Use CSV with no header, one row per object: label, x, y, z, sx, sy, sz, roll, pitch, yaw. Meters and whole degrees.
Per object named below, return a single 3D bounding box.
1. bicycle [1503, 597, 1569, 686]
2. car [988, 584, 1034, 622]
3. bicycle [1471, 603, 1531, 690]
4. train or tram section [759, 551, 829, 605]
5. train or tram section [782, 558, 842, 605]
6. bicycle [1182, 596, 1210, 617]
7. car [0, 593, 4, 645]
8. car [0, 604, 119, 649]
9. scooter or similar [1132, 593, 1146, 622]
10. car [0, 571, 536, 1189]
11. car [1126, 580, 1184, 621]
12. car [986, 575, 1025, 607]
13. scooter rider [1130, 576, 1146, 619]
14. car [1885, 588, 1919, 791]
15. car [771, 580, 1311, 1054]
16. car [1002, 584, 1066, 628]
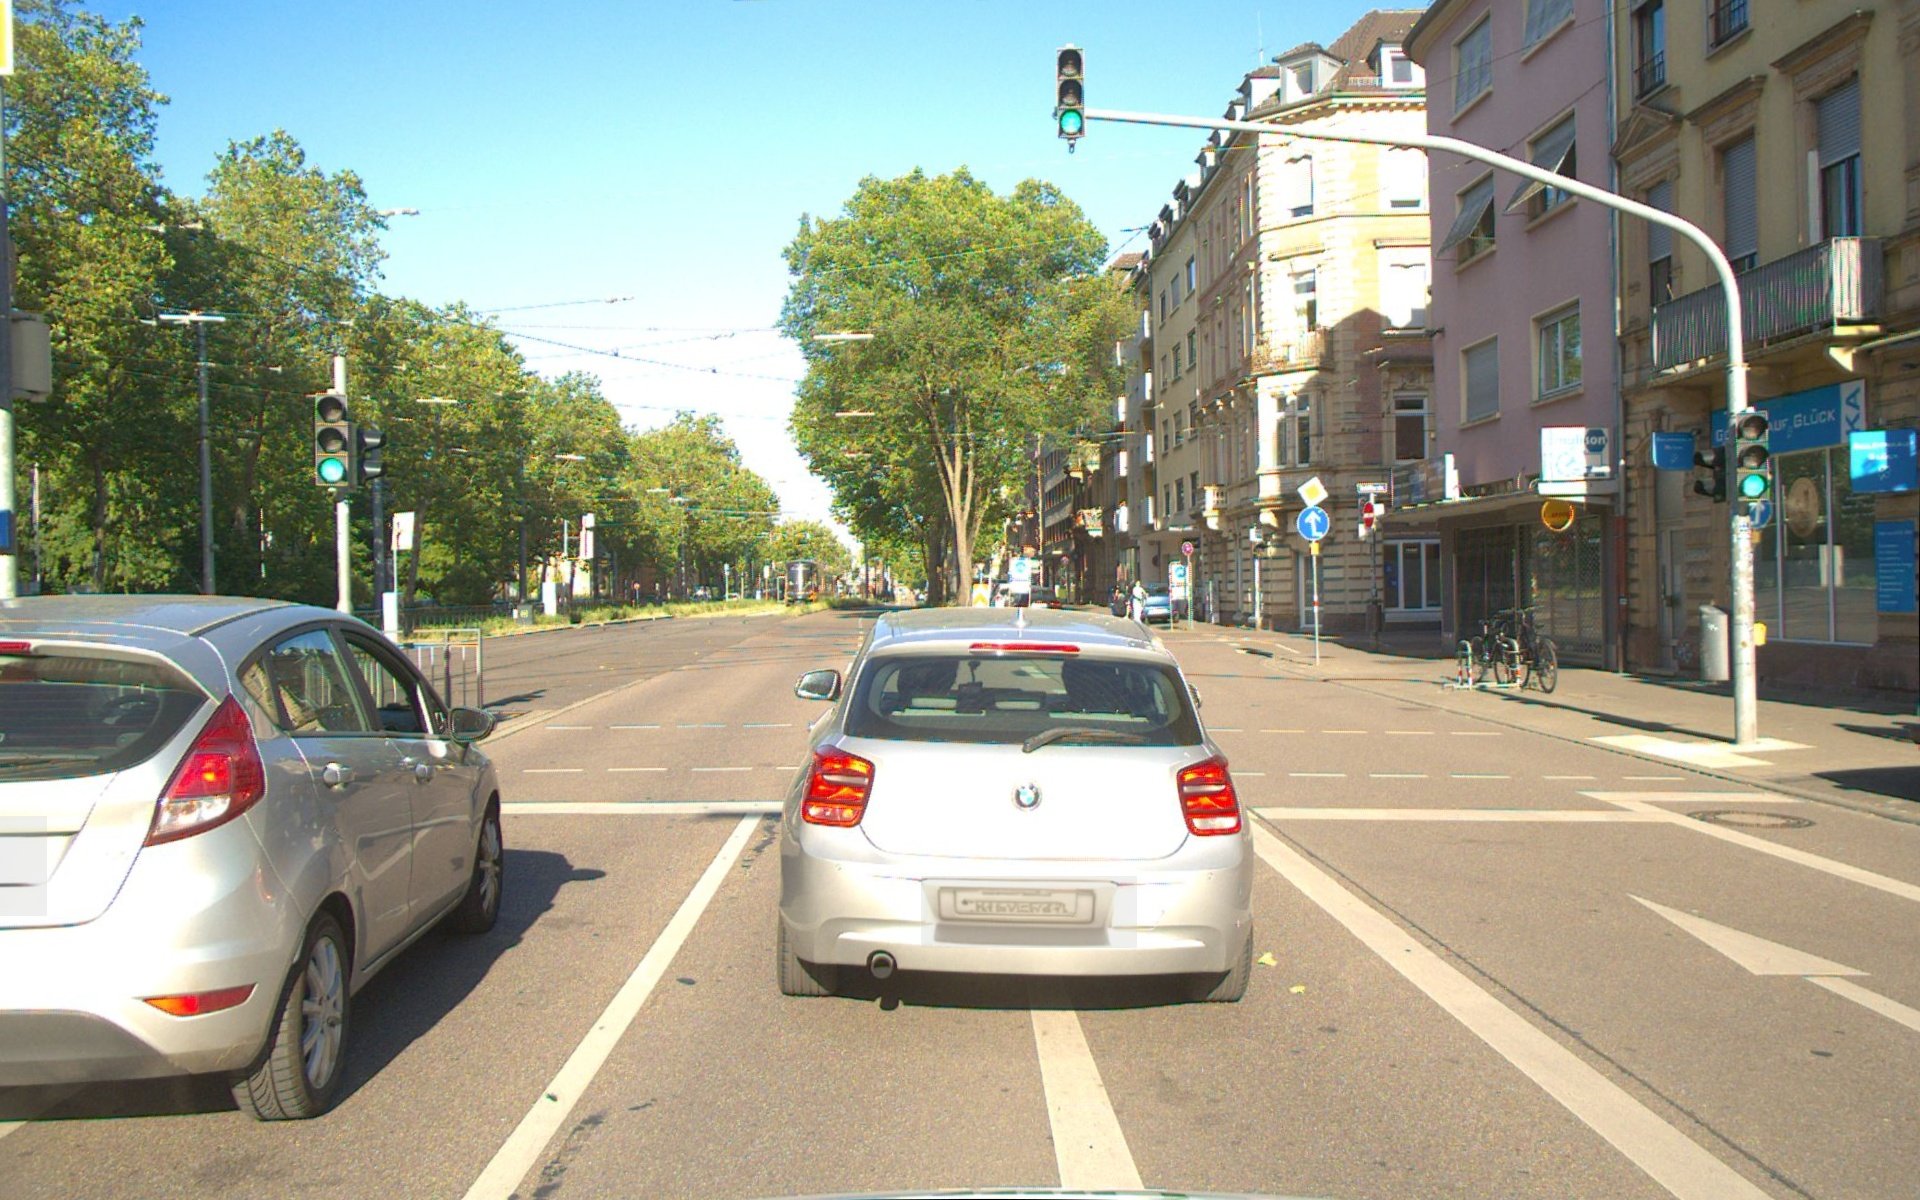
bicycle,8.092,0.562,23.295,0.439,1.179,1.759,-1,1,5
car,2.105,0.095,69.367,1.690,1.533,3.553,0,1,-2
bicycle,7.603,0.630,23.291,0.405,1.160,1.811,0,1,5
train or tram section,-12.797,-1.689,129.511,3.888,3.933,17.486,-1,1,-1
train or tram section,-13.020,-1.637,146.976,3.924,3.933,17.486,-1,1,-1
bicycle,9.161,0.255,64.255,0.739,0.784,1.944,-1,1,-2
car,-29.344,0.588,47.366,1.636,1.536,4.143,-1,1,-2
car,-29.396,0.845,53.637,1.897,1.372,4.847,-1,0,-2
scooter or similar,6.418,0.259,59.480,0.330,1.005,1.284,-1,1,-1
car,-2.658,0.666,5.933,1.578,1.493,3.886,-1,1,-5
car,7.504,-0.006,63.883,1.700,1.546,3.635,0,1,-2
car,2.248,-0.439,81.902,1.690,1.533,3.553,0,1,-2
scooter rider,6.392,-0.087,59.401,0.456,1.531,0.810,-1,1,-2
car,7.623,0.614,10.148,1.531,1.440,4.003,-4,1,-1
car,0.229,0.674,7.269,1.705,1.493,3.999,1,1,-1
car,2.546,0.188,57.828,1.702,1.458,3.673,0,1,-6
